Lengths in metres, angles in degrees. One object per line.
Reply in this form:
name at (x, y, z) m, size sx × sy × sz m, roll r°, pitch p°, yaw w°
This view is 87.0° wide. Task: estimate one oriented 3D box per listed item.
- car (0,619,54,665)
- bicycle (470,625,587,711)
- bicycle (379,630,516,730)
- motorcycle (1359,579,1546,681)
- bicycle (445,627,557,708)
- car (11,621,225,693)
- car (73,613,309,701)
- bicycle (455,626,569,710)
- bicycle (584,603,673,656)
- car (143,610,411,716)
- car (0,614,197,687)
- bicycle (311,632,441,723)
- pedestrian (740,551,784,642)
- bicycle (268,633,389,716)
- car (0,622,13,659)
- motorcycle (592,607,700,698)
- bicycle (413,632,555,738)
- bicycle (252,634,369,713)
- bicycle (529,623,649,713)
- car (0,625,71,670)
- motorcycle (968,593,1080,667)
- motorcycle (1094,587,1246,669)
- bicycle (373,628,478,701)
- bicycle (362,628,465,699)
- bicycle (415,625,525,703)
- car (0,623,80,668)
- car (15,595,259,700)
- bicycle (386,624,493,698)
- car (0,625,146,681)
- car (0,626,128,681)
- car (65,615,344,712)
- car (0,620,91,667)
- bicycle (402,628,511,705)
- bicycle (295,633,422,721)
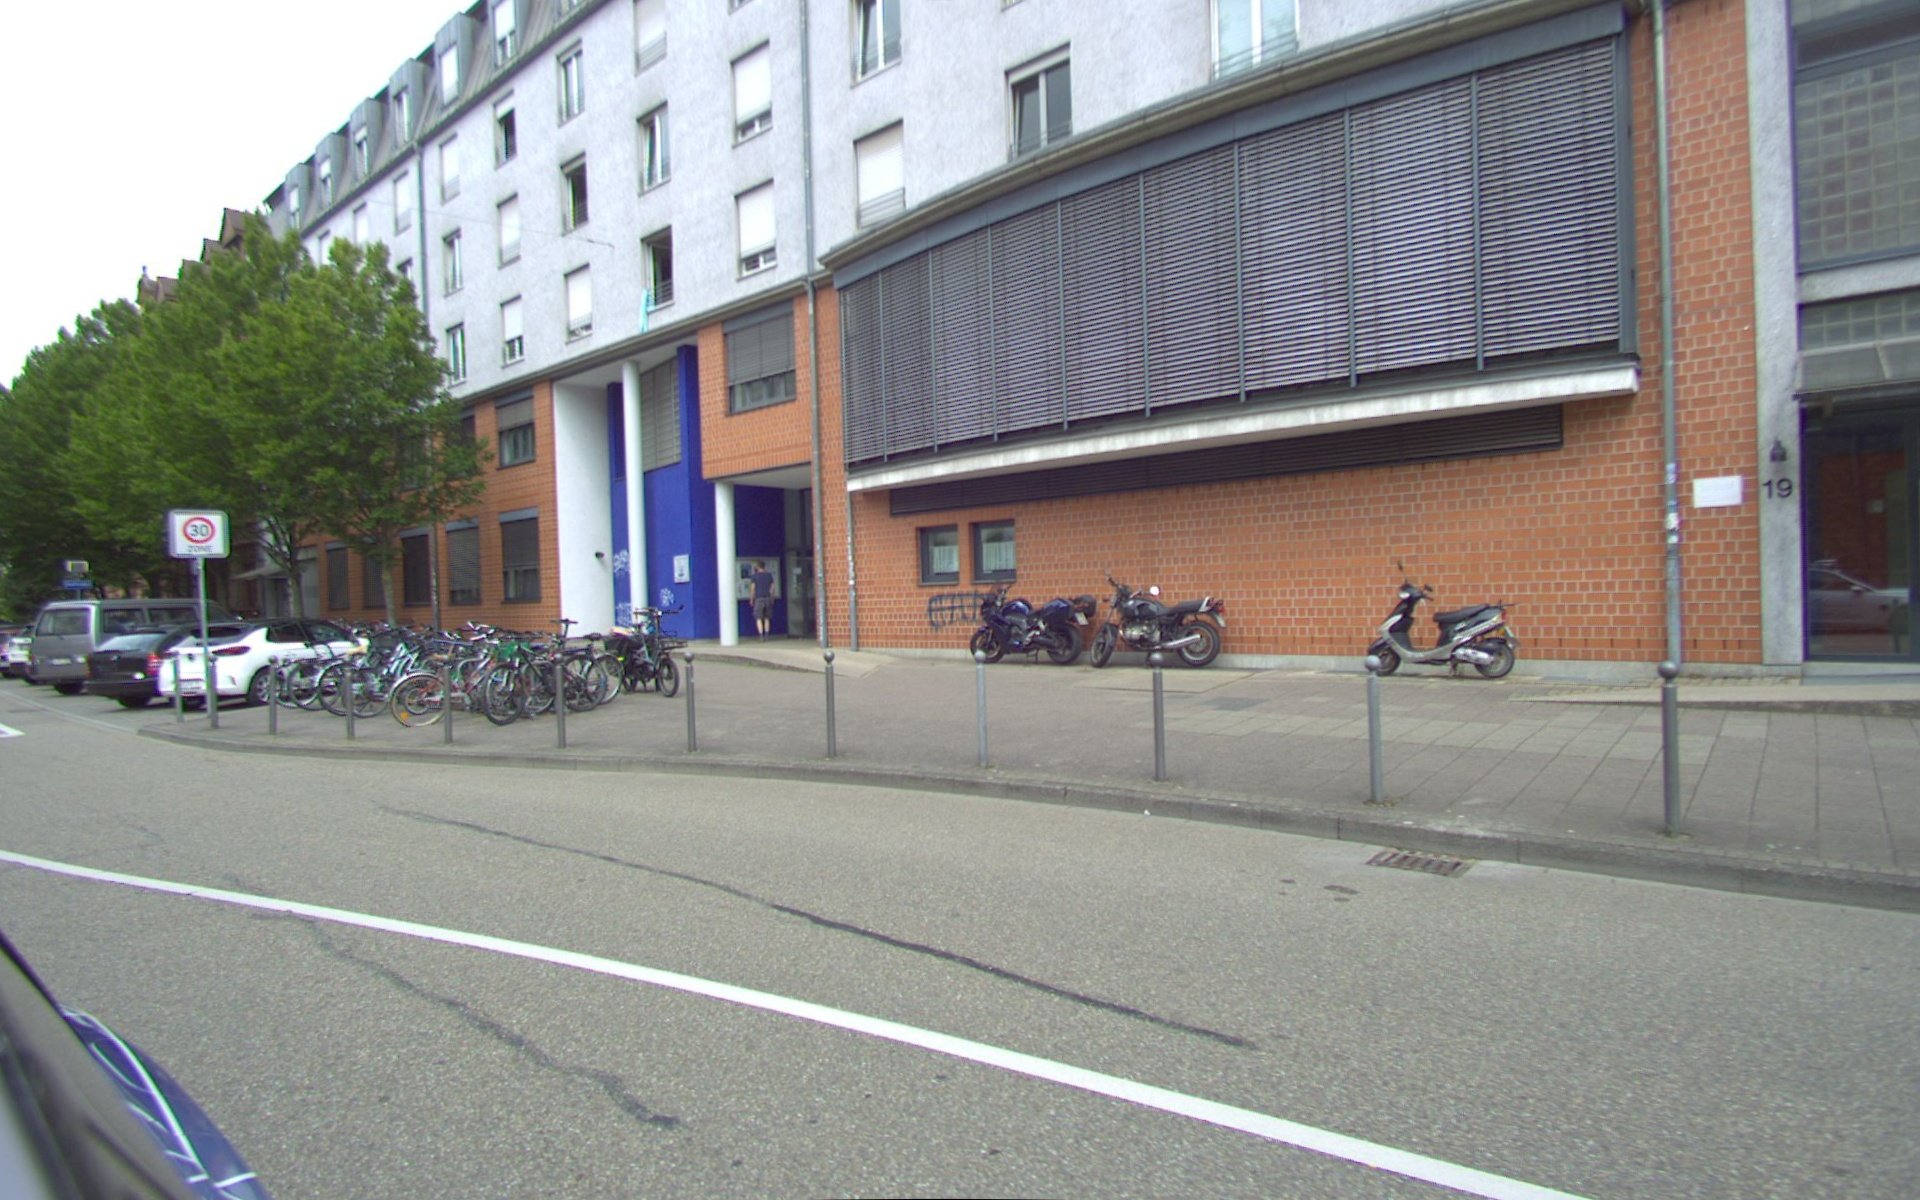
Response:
car at (-41.218, 1.818, 42.925) m, size 1.671 × 1.871 × 4.036 m, roll -3°, pitch 0°, yaw 7°
bicycle at (-5.864, 0.899, 13.804) m, size 0.402 × 1.034 × 1.391 m, roll -2°, pitch 1°, yaw 43°
bicycle at (-6.248, 0.947, 12.389) m, size 0.402 × 1.046 × 1.391 m, roll -2°, pitch 3°, yaw 43°
motorcycle at (5.575, 0.339, 11.522) m, size 1.793 × 1.056 × 0.577 m, roll -2°, pitch 1°, yaw 42°
bicycle at (-6.576, 0.939, 14.542) m, size 0.402 × 1.034 × 1.391 m, roll -2°, pitch 1°, yaw 43°
car at (-20.485, 1.340, 24.863) m, size 1.606 × 1.457 × 3.997 m, roll -3°, pitch 0°, yaw 7°
car at (-16.257, 1.141, 21.677) m, size 1.689 × 1.522 × 3.998 m, roll -3°, pitch 1°, yaw 6°
bicycle at (-6.252, 0.925, 14.174) m, size 0.402 × 1.034 × 1.391 m, roll -2°, pitch 1°, yaw 43°
bicycle at (-7.451, 0.647, 22.748) m, size 1.591 × 0.932 × 0.933 m, roll -9°, pitch 5°, yaw -37°
car at (-11.872, 1.021, 17.950) m, size 1.585 × 1.557 × 3.993 m, roll -2°, pitch 0°, yaw 10°
car at (-22.554, 1.268, 26.550) m, size 1.692 × 1.627 × 3.997 m, roll -3°, pitch 0°, yaw 7°
bicycle at (-7.830, 1.016, 13.615) m, size 0.402 × 1.046 × 1.391 m, roll -2°, pitch 3°, yaw 43°
pedestrian at (-4.543, -0.073, 23.161) m, size 0.718 × 2.029 × 0.785 m, roll -2°, pitch 0°, yaw -30°
bicycle at (-9.266, 1.067, 14.879) m, size 0.402 × 1.034 × 1.391 m, roll -2°, pitch 3°, yaw 43°
car at (-51.083, 2.178, 51.562) m, size 1.671 × 1.871 × 3.997 m, roll -3°, pitch 0°, yaw 7°
motorcycle at (-4.444, 0.724, 14.256) m, size 1.779 × 1.181 × 0.577 m, roll -2°, pitch 1°, yaw 43°
bicycle at (-5.540, 0.961, 11.843) m, size 0.402 × 1.046 × 1.391 m, roll -2°, pitch 3°, yaw 43°
bicycle at (-9.871, 1.093, 15.414) m, size 0.402 × 1.034 × 1.391 m, roll -2°, pitch 3°, yaw 43°
bicycle at (-4.795, 0.857, 13.143) m, size 0.402 × 1.034 × 1.391 m, roll -2°, pitch 1°, yaw 43°
car at (-36.612, 1.849, 38.574) m, size 1.671 × 1.579 × 3.997 m, roll -3°, pitch 0°, yaw 7°
motorcycle at (0.969, 0.468, 15.547) m, size 1.655 × 1.056 × 0.578 m, roll -2°, pitch 1°, yaw 40°
motorcycle at (2.908, 0.405, 14.098) m, size 1.959 × 1.056 × 0.579 m, roll -2°, pitch 1°, yaw 30°
bicycle at (-8.545, 1.012, 16.216) m, size 0.402 × 1.034 × 1.391 m, roll -2°, pitch 1°, yaw 43°
bicycle at (-8.905, 1.016, 16.527) m, size 0.402 × 1.034 × 1.391 m, roll -2°, pitch 1°, yaw 43°
bicycle at (-7.249, 0.928, 15.013) m, size 0.402 × 1.034 × 1.391 m, roll -2°, pitch 1°, yaw 43°
car at (-39.004, 1.890, 41.710) m, size 1.671 × 1.694 × 3.997 m, roll -3°, pitch 0°, yaw 7°
car at (-18.386, 0.987, 22.874) m, size 1.841 × 2.012 × 3.994 m, roll -2°, pitch 2°, yaw 10°
bicycle at (-8.116, 0.937, 15.813) m, size 0.402 × 1.034 × 1.391 m, roll -2°, pitch 1°, yaw 43°
car at (-26.760, 1.552, 30.103) m, size 1.577 × 1.400 × 3.997 m, roll -3°, pitch 0°, yaw 7°
car at (-28.495, 1.655, 31.472) m, size 1.671 × 1.464 × 3.997 m, roll -3°, pitch 0°, yaw 7°
car at (-14.006, 1.102, 19.133) m, size 1.697 × 1.480 × 4.308 m, roll -2°, pitch 0°, yaw 7°
car at (-34.545, 1.619, 37.054) m, size 1.671 × 1.579 × 3.997 m, roll -3°, pitch 0°, yaw 7°
bicycle at (-7.613, 0.987, 15.332) m, size 0.402 × 1.034 × 1.391 m, roll -2°, pitch 1°, yaw 43°
bicycle at (-8.315, 1.042, 14.034) m, size 0.402 × 1.034 × 1.391 m, roll -2°, pitch 3°, yaw 43°
